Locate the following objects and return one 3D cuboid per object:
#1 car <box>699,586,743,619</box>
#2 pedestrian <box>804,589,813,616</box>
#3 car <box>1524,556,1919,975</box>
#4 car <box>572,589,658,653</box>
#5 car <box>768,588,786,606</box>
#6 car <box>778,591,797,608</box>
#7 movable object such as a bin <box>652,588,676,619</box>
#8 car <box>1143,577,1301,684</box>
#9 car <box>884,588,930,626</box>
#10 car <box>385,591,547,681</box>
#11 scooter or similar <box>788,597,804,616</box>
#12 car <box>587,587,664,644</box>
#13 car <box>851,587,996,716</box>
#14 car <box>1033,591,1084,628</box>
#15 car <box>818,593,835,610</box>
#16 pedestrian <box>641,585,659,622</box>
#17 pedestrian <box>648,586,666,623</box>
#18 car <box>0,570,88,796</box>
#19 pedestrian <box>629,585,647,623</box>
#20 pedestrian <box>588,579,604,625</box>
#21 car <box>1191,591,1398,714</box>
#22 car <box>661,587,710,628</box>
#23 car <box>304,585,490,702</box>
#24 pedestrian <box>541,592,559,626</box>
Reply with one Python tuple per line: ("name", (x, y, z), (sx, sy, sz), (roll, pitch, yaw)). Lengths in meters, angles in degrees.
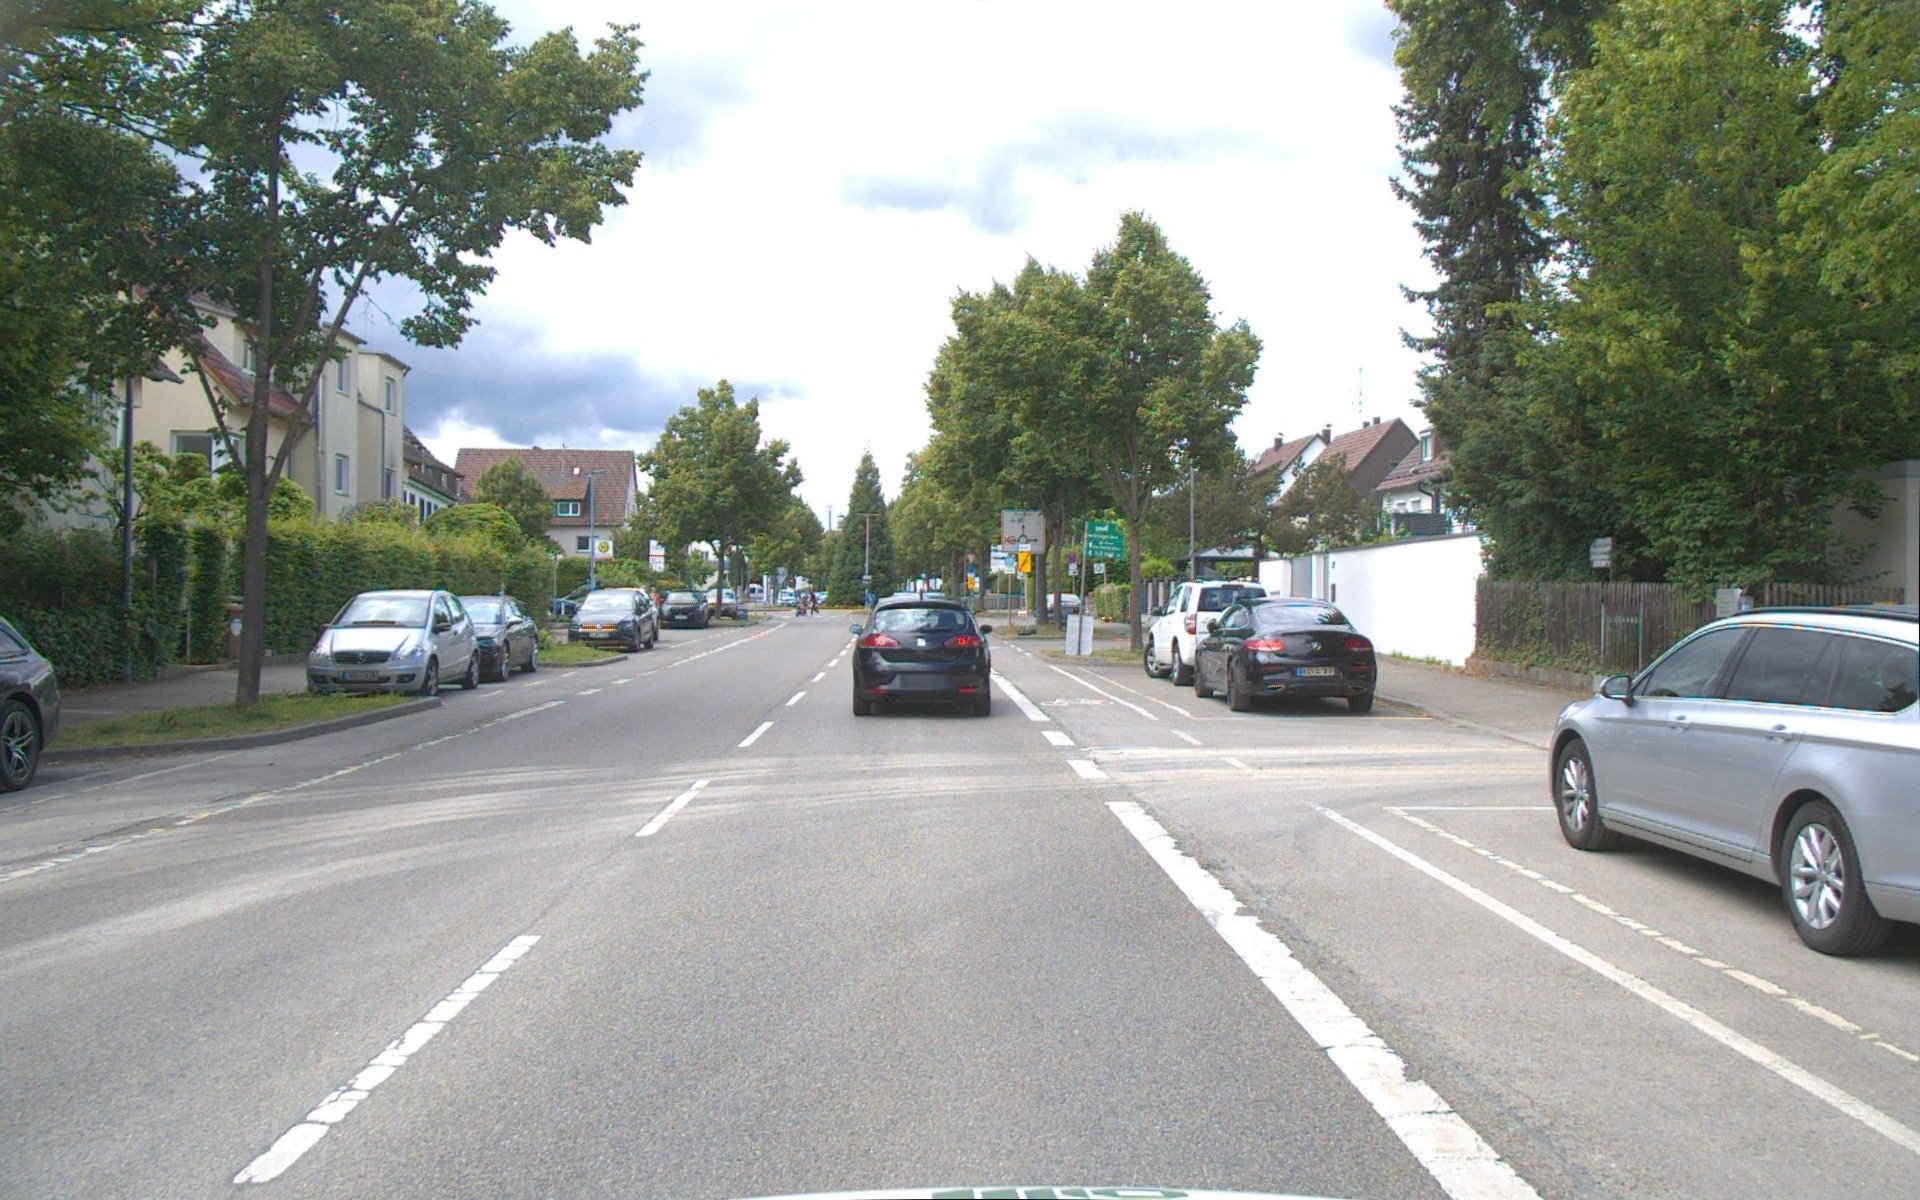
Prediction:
("car", (-12.722, 0.130, 88.246), (1.823, 1.682, 4.292), (0, 0, -2))
("pedestrian", (-9.503, 0.143, 103.602), (0.505, 1.699, 0.481), (0, 0, -12))
("car", (4.628, 0.671, 8.372), (1.824, 1.639, 4.685), (1, 0, -2))
("car", (-8.997, 0.509, 43.439), (1.644, 1.579, 4.269), (0, 0, -4))
("car", (-20.324, -0.322, 183.825), (1.990, 2.005, 3.996), (-1, 0, -5))
("car", (-17.293, -0.072, 165.972), (1.762, 1.629, 3.997), (-1, 0, -4))
("movable object such as a bin", (-16.269, 0.183, 90.983), (1.182, 1.680, 0.997), (2, 0, -5))
("car", (4.364, 0.484, 28.109), (1.862, 1.671, 4.114), (0, 0, -3))
("car", (-2.293, 0.288, 72.356), (1.953, 1.641, 3.999), (0, 0, -2))
("car", (-9.115, 0.611, 30.943), (1.955, 1.511, 4.885), (-1, 0, -5))
("scooter or similar", (-10.240, 0.403, 103.392), (0.949, 1.115, 0.406), (2, -1, -11))
("car", (-10.209, 0.433, 50.746), (1.785, 1.662, 4.581), (-1, 0, -5))
("car", (-0.427, 0.602, 21.530), (1.696, 1.512, 4.000), (1, 0, 0))
("car", (3.834, 0.391, 64.903), (1.579, 1.401, 4.385), (0, -1, -2))
("car", (-13.227, 0.133, 164.294), (1.537, 1.663, 3.620), (0, 0, -3))
("pedestrian", (-14.274, 0.178, 76.115), (0.772, 1.692, 0.590), (0, 0, -10))
("pedestrian", (-13.782, 0.208, 75.277), (0.772, 1.692, 0.752), (0, 0, -10))
("car", (-8.059, 0.644, 11.056), (2.054, 1.675, 5.034), (-1, 1, -4))
("pedestrian", (-14.625, 0.171, 75.031), (0.772, 1.692, 0.879), (0, 0, -10))
("pedestrian", (-14.459, 0.078, 65.740), (0.493, 1.837, 0.671), (0, 0, -3))
("car", (4.307, 0.615, 22.003), (1.825, 1.441, 4.602), (0, 1, 0))
("car", (-11.946, 0.310, 72.277), (1.690, 1.755, 4.561), (0, 0, -4))
("car", (-8.533, 0.606, 25.400), (1.684, 1.641, 3.908), (-1, 0, -3))
("pedestrian", (-16.260, 0.337, 65.606), (0.576, 1.336, 0.705), (0, 0, -2))
